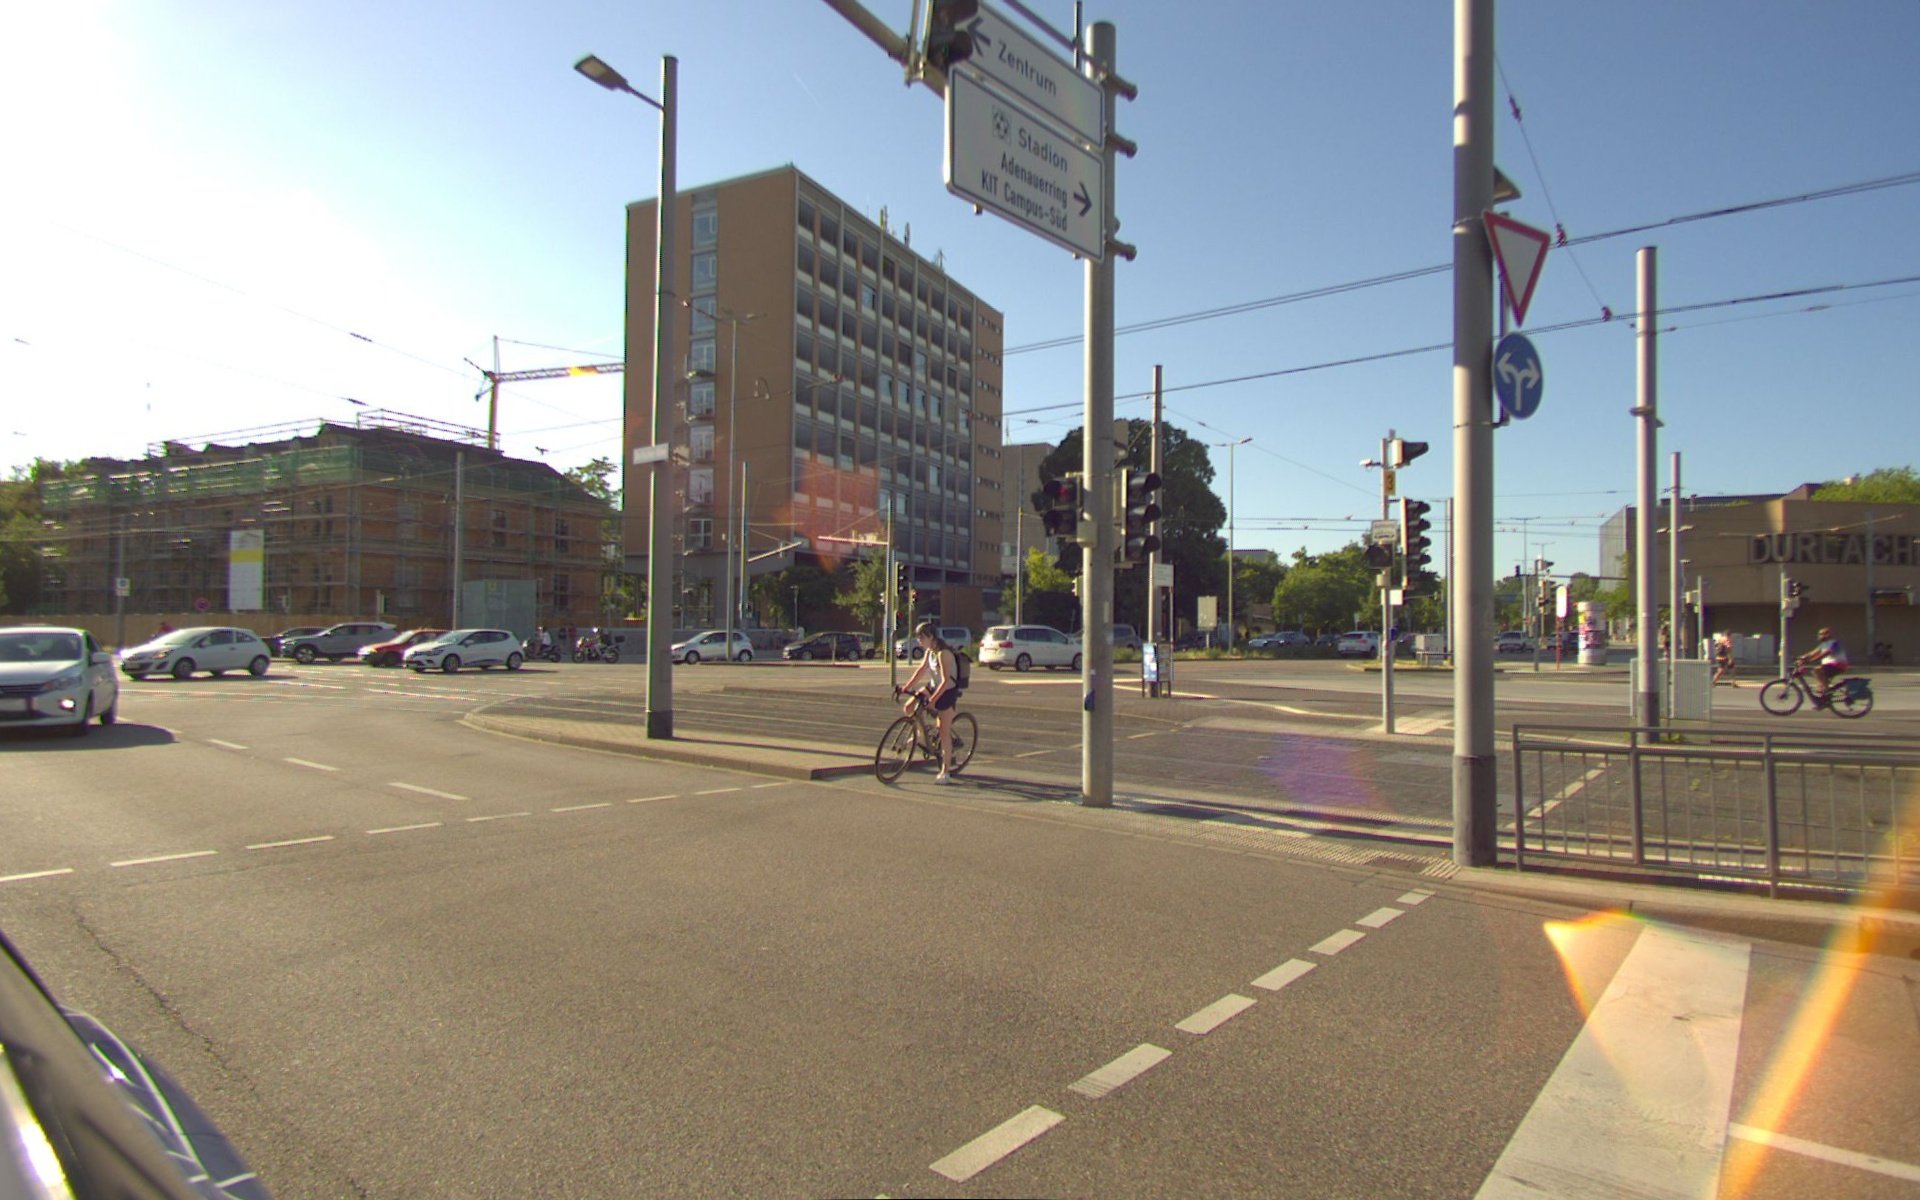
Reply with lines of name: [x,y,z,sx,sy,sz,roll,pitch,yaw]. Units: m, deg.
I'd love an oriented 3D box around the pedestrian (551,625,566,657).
pedestrian: [-22.359,2.276,56.387,0.612,1.752,0.667,1,-1,-8]

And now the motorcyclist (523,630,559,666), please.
motorcyclist: [-20.033,2.305,48.370,1.429,1.680,1.121,1,-5,-29]

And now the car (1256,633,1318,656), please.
car: [24.605,3.354,76.035,4.629,1.697,2.005,2,-5,-36]

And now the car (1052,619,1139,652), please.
car: [7.360,1.933,54.761,4.541,1.701,2.005,2,-2,-35]

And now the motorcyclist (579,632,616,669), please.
motorcyclist: [-16.828,2.340,46.980,1.429,1.680,1.121,1,-5,-29]

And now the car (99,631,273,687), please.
car: [-22.624,1.685,29.782,1.764,1.475,3.904,1,-2,9]

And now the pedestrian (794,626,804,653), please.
pedestrian: [-10.483,2.566,65.901,0.614,1.725,0.487,0,-4,-16]

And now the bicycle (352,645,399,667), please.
bicycle: [-28.483,2.740,49.338,1.850,0.977,0.713,3,0,-7]

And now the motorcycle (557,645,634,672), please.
motorcycle: [-16.886,2.693,46.911,3.177,1.204,1.121,1,-5,-29]

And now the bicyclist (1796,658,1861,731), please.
bicyclist: [17.207,1.860,20.073,0.900,1.355,0.805,-1,-1,37]

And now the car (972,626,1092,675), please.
car: [2.791,1.929,38.680,4.391,1.747,1.946,3,-3,-38]

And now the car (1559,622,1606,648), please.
car: [43.017,2.425,69.925,1.866,1.642,3.979,5,1,44]

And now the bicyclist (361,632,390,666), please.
bicyclist: [-28.470,2.375,49.331,1.001,1.599,0.695,2,0,-8]

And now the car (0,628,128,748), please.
car: [-13.139,1.188,14.252,1.693,1.504,3.881,3,-4,-33]

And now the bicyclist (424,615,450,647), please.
bicyclist: [-27.232,1.625,52.683,1.000,1.599,0.696,2,0,-12]

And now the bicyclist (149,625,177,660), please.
bicyclist: [-40.844,2.167,51.867,0.999,1.721,0.696,2,1,-28]

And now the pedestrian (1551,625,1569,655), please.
pedestrian: [37.116,2.471,62.599,0.803,1.782,0.951,-4,-5,36]

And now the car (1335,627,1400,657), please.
car: [24.750,2.532,61.374,4.553,1.760,1.943,2,-2,-43]

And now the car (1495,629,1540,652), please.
car: [40.111,2.914,72.779,3.812,1.643,1.723,2,-4,-44]

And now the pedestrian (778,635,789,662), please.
pedestrian: [-10.682,2.933,61.384,0.497,1.648,0.428,3,-6,-43]

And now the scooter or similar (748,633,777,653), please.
scooter or similar: [-12.889,2.835,66.016,1.690,1.257,0.797,-2,-4,12]

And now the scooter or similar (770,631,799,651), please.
scooter or similar: [-11.634,2.732,67.188,1.803,1.257,0.800,-1,-4,-2]

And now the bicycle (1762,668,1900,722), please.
bicycle: [17.209,1.861,20.078,1.999,0.949,0.805,-1,-1,37]

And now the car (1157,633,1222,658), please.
car: [16.713,3.324,73.694,4.629,1.697,2.005,2,-5,-36]

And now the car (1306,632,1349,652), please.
car: [32.184,3.659,88.648,3.937,1.741,1.826,2,-3,-41]

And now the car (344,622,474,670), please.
car: [-21.166,1.816,39.008,1.996,1.697,3.950,-4,-5,36]

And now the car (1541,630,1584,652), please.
car: [49.080,3.314,82.406,3.811,1.642,1.861,2,1,-42]

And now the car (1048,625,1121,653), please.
car: [8.274,2.596,66.899,4.629,1.697,2.005,2,-5,-36]

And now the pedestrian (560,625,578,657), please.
pedestrian: [-22.018,2.319,56.992,0.721,1.752,0.623,2,-1,-40]

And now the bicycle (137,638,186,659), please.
bicycle: [-40.890,2.495,51.856,1.848,0.977,0.714,2,1,-29]

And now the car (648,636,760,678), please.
car: [-10.948,2.382,43.342,4.211,1.689,2.005,1,-2,-34]

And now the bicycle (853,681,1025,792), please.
bicycle: [-0.166,1.330,10.302,0.813,0.949,1.873,0,-3,34]

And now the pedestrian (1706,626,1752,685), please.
pedestrian: [22.530,1.637,29.657,0.724,1.699,1.048,-3,-5,22]

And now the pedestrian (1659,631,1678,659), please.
pedestrian: [40.696,2.587,58.099,0.803,1.580,1.165,-4,-5,36]

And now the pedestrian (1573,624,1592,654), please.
pedestrian: [38.055,2.404,61.884,0.803,1.782,0.961,-4,-5,36]

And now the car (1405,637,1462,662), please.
car: [28.392,2.932,60.617,1.847,1.434,4.369,-1,-2,42]

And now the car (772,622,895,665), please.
car: [-6.247,2.176,50.178,5.667,2.029,2.006,1,-5,-30]

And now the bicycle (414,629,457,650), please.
bicycle: [-27.287,2.042,52.679,1.849,0.977,0.714,2,1,-12]

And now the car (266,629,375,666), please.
car: [-27.763,2.015,44.008,3.951,1.475,1.761,0,-1,-33]

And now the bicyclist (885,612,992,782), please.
bicyclist: [-0.216,0.945,10.228,0.813,1.628,0.668,0,-3,35]

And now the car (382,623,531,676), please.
car: [-17.192,1.639,34.767,1.991,1.689,4.242,0,-2,28]

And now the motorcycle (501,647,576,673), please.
motorcycle: [-20.102,2.852,48.295,3.177,1.204,1.121,1,-5,-29]

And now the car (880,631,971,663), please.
car: [-1.899,2.611,56.046,4.627,1.697,2.005,2,-5,-32]

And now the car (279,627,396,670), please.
car: [-25.206,1.930,41.007,3.933,1.619,2.005,0,-2,-35]
